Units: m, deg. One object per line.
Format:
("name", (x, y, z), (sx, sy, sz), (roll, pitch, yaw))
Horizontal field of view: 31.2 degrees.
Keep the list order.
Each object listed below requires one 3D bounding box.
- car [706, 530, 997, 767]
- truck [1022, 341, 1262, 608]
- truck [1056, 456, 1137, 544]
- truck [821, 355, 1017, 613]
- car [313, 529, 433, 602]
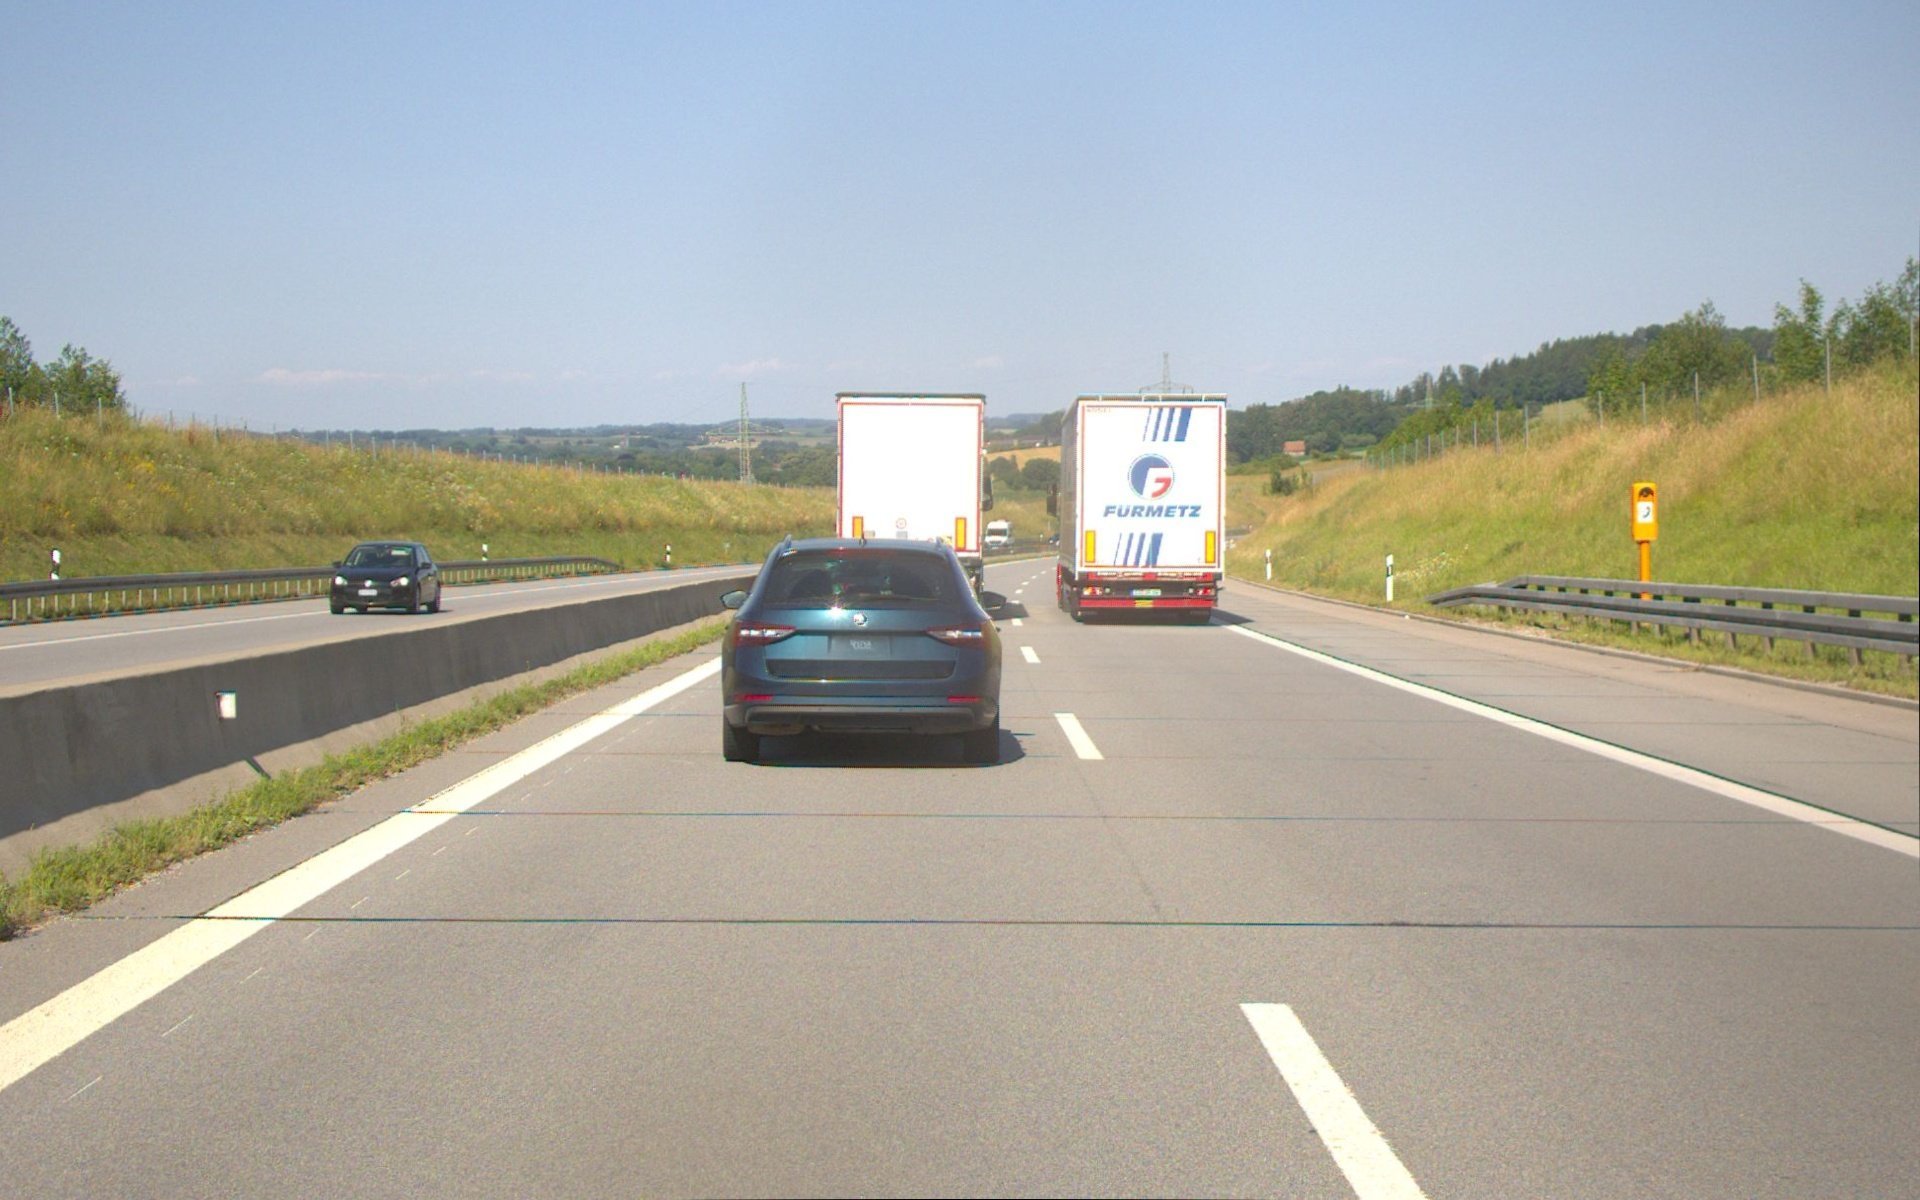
("car", (-0.727, 0.255, 22.946), (1.776, 1.436, 3.789), (0, 1, -2))
("truck", (3.190, -2.267, 63.903), (3.604, 4.366, 11.234), (-3, 1, 0))
("truck", (7.200, -5.303, 182.891), (3.604, 4.366, 11.234), (-3, 1, 0))
("truck", (-0.722, -2.163, 65.577), (3.211, 4.366, 11.234), (-3, 1, 0))
("car", (-11.987, -0.728, 70.406), (1.746, 1.351, 4.000), (-3, 1, 0))
